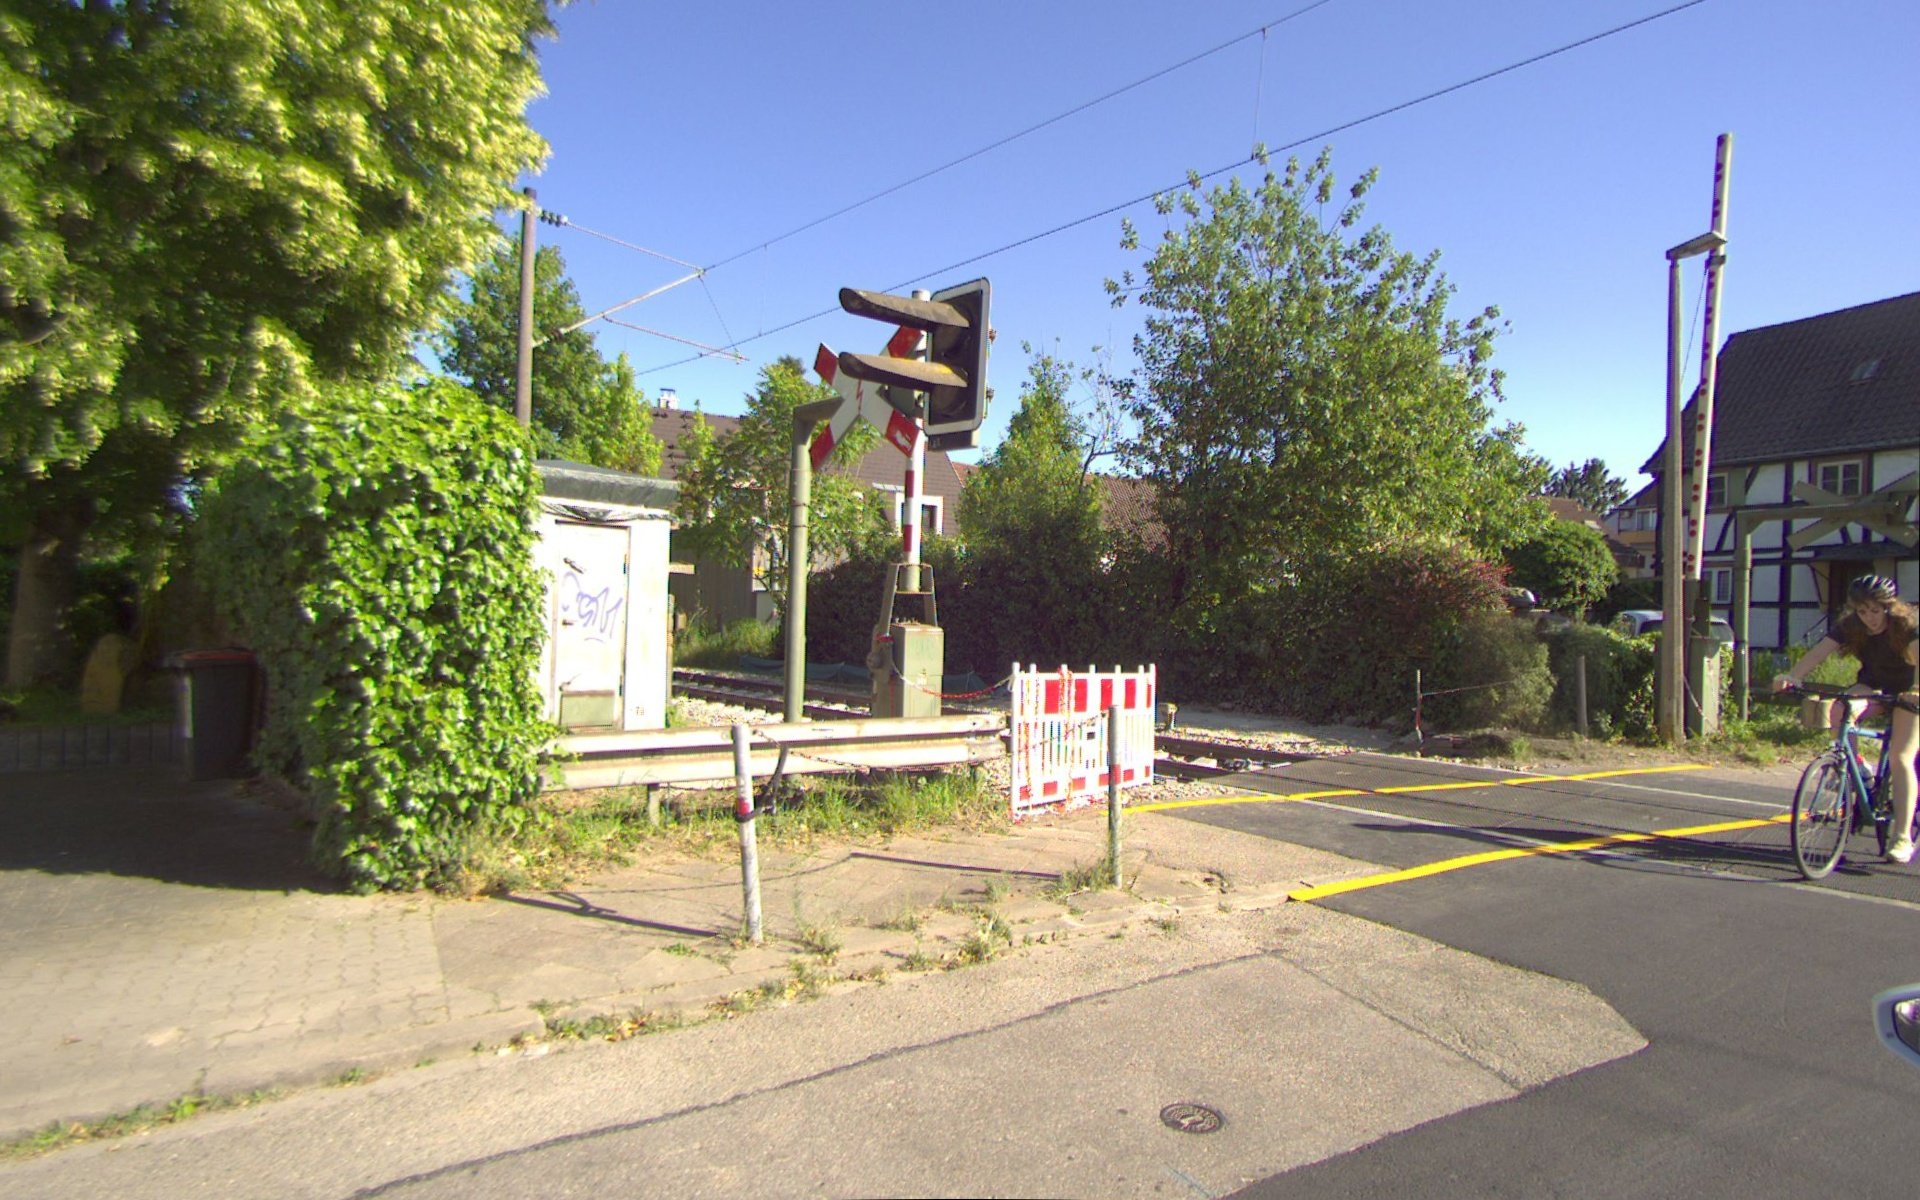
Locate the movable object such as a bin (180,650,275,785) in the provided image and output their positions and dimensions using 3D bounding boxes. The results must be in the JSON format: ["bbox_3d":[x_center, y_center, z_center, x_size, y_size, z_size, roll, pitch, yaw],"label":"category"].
[{"bbox_3d":[-5.561,0.874,7.653,0.502,0.946,0.587,3,-1,-32],"label":"movable object such as a bin"}]

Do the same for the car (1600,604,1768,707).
[{"bbox_3d":[13.044,0.922,18.352,1.657,1.585,3.997,3,1,24],"label":"car"}]

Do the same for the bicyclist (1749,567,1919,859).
[{"bbox_3d":[5.395,0.625,5.920,0.861,1.561,0.846,3,-1,-24],"label":"bicyclist"}]

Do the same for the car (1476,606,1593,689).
[{"bbox_3d":[11.192,0.863,19.787,1.611,1.420,3.829,2,0,24],"label":"car"}]

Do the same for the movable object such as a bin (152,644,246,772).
[{"bbox_3d":[-6.064,0.844,8.025,0.502,0.946,0.587,3,-1,-32],"label":"movable object such as a bin"}]

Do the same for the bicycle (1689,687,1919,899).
[{"bbox_3d":[5.366,1.048,5.909,2.035,1.018,0.881,3,-2,-25],"label":"bicycle"}]
